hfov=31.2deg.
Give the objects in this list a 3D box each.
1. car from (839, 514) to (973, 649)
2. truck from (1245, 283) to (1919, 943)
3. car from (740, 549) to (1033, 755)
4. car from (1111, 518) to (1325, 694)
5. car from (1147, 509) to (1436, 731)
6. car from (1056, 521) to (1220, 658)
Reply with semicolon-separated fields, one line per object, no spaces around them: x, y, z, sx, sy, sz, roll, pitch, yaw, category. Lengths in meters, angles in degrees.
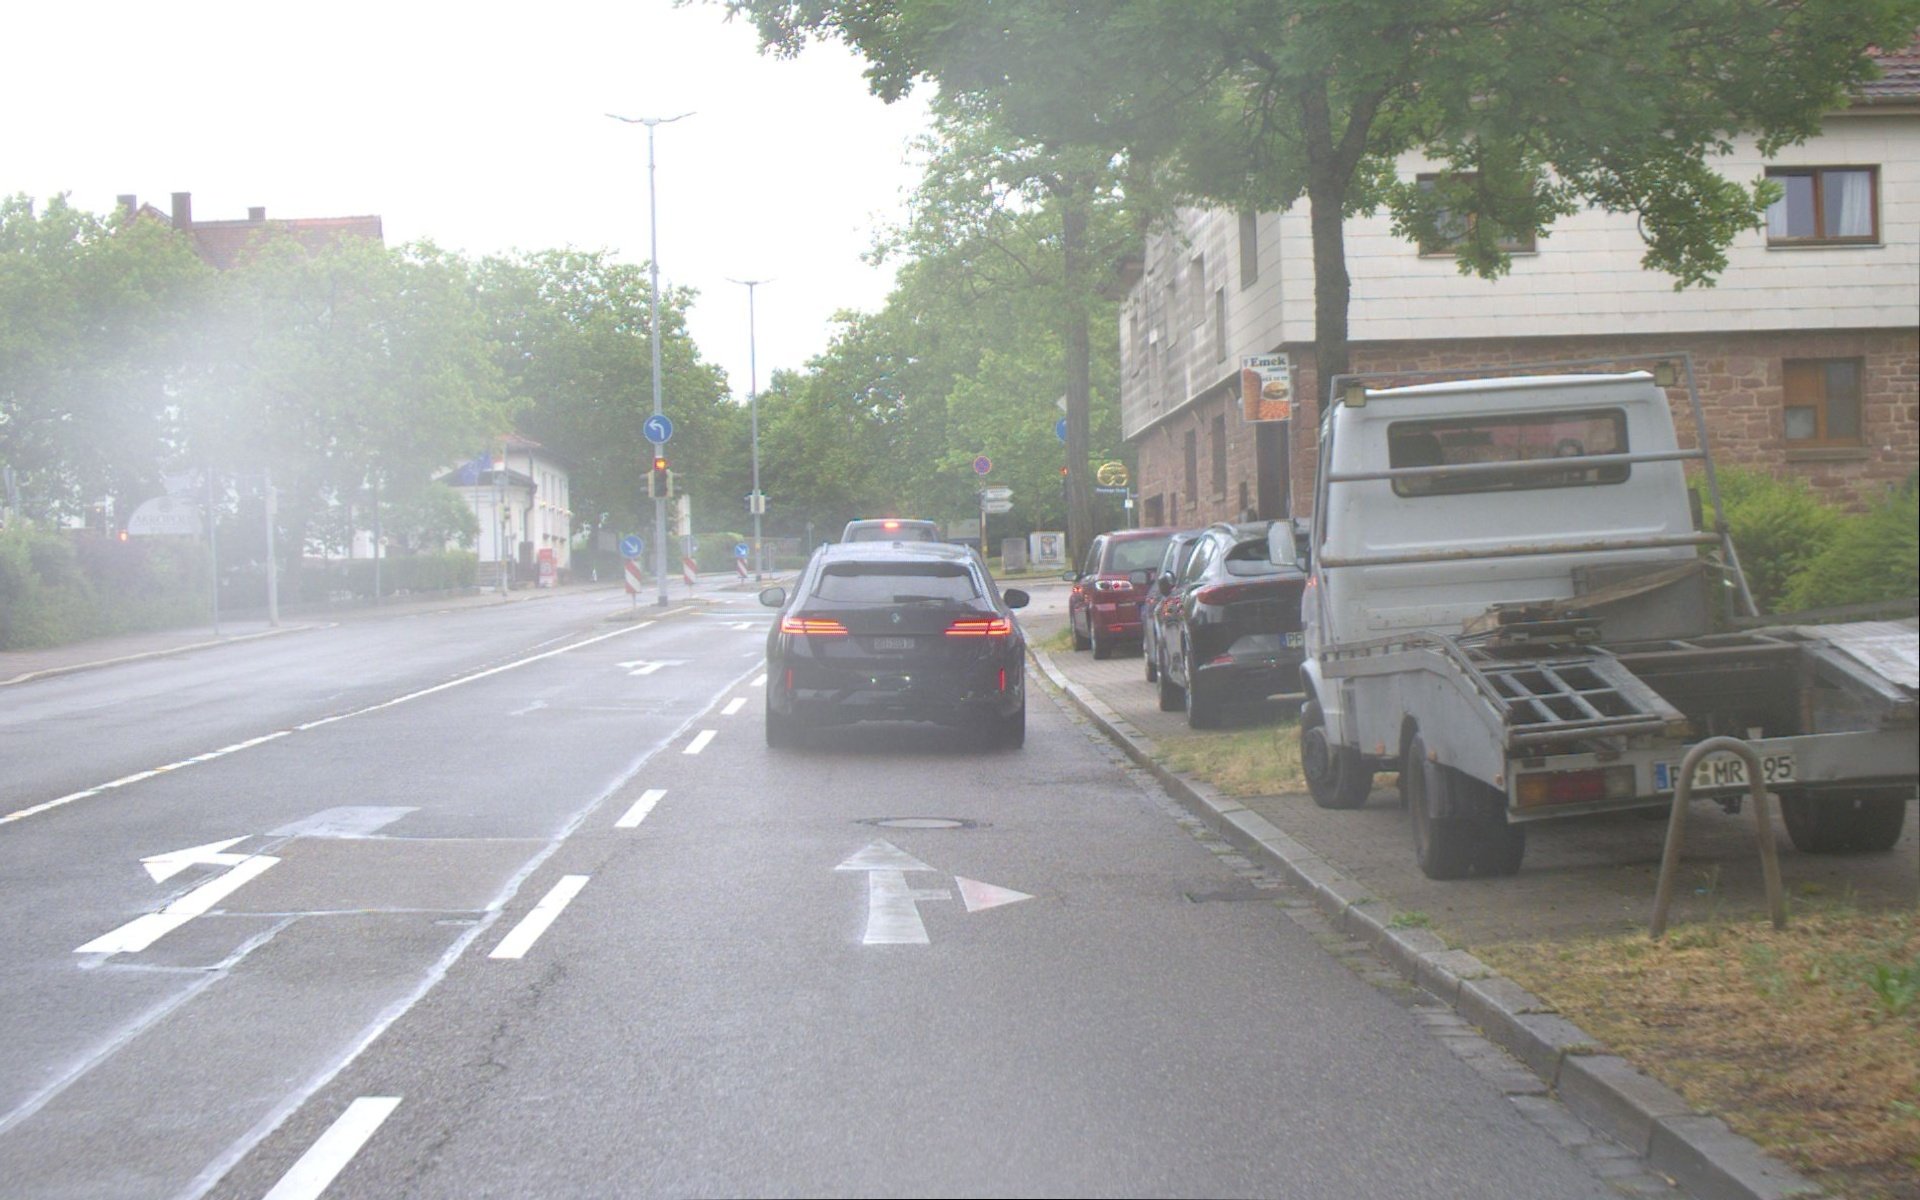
-0.802;-0.301;48.716;1.783;1.811;4.001;-1;1;-2;car
2.775;-0.039;15.367;2.080;2.214;6.502;-4;1;-2;truck
-0.613;0.331;26.463;2.064;1.441;4.484;0;1;-2;car
2.392;0.009;32.723;1.604;1.467;3.856;-4;1;-1;car
2.504;0.099;26.841;1.714;1.493;4.184;-4;1;-1;car
2.147;-0.166;42.279;1.584;1.485;3.628;-4;2;-2;car
